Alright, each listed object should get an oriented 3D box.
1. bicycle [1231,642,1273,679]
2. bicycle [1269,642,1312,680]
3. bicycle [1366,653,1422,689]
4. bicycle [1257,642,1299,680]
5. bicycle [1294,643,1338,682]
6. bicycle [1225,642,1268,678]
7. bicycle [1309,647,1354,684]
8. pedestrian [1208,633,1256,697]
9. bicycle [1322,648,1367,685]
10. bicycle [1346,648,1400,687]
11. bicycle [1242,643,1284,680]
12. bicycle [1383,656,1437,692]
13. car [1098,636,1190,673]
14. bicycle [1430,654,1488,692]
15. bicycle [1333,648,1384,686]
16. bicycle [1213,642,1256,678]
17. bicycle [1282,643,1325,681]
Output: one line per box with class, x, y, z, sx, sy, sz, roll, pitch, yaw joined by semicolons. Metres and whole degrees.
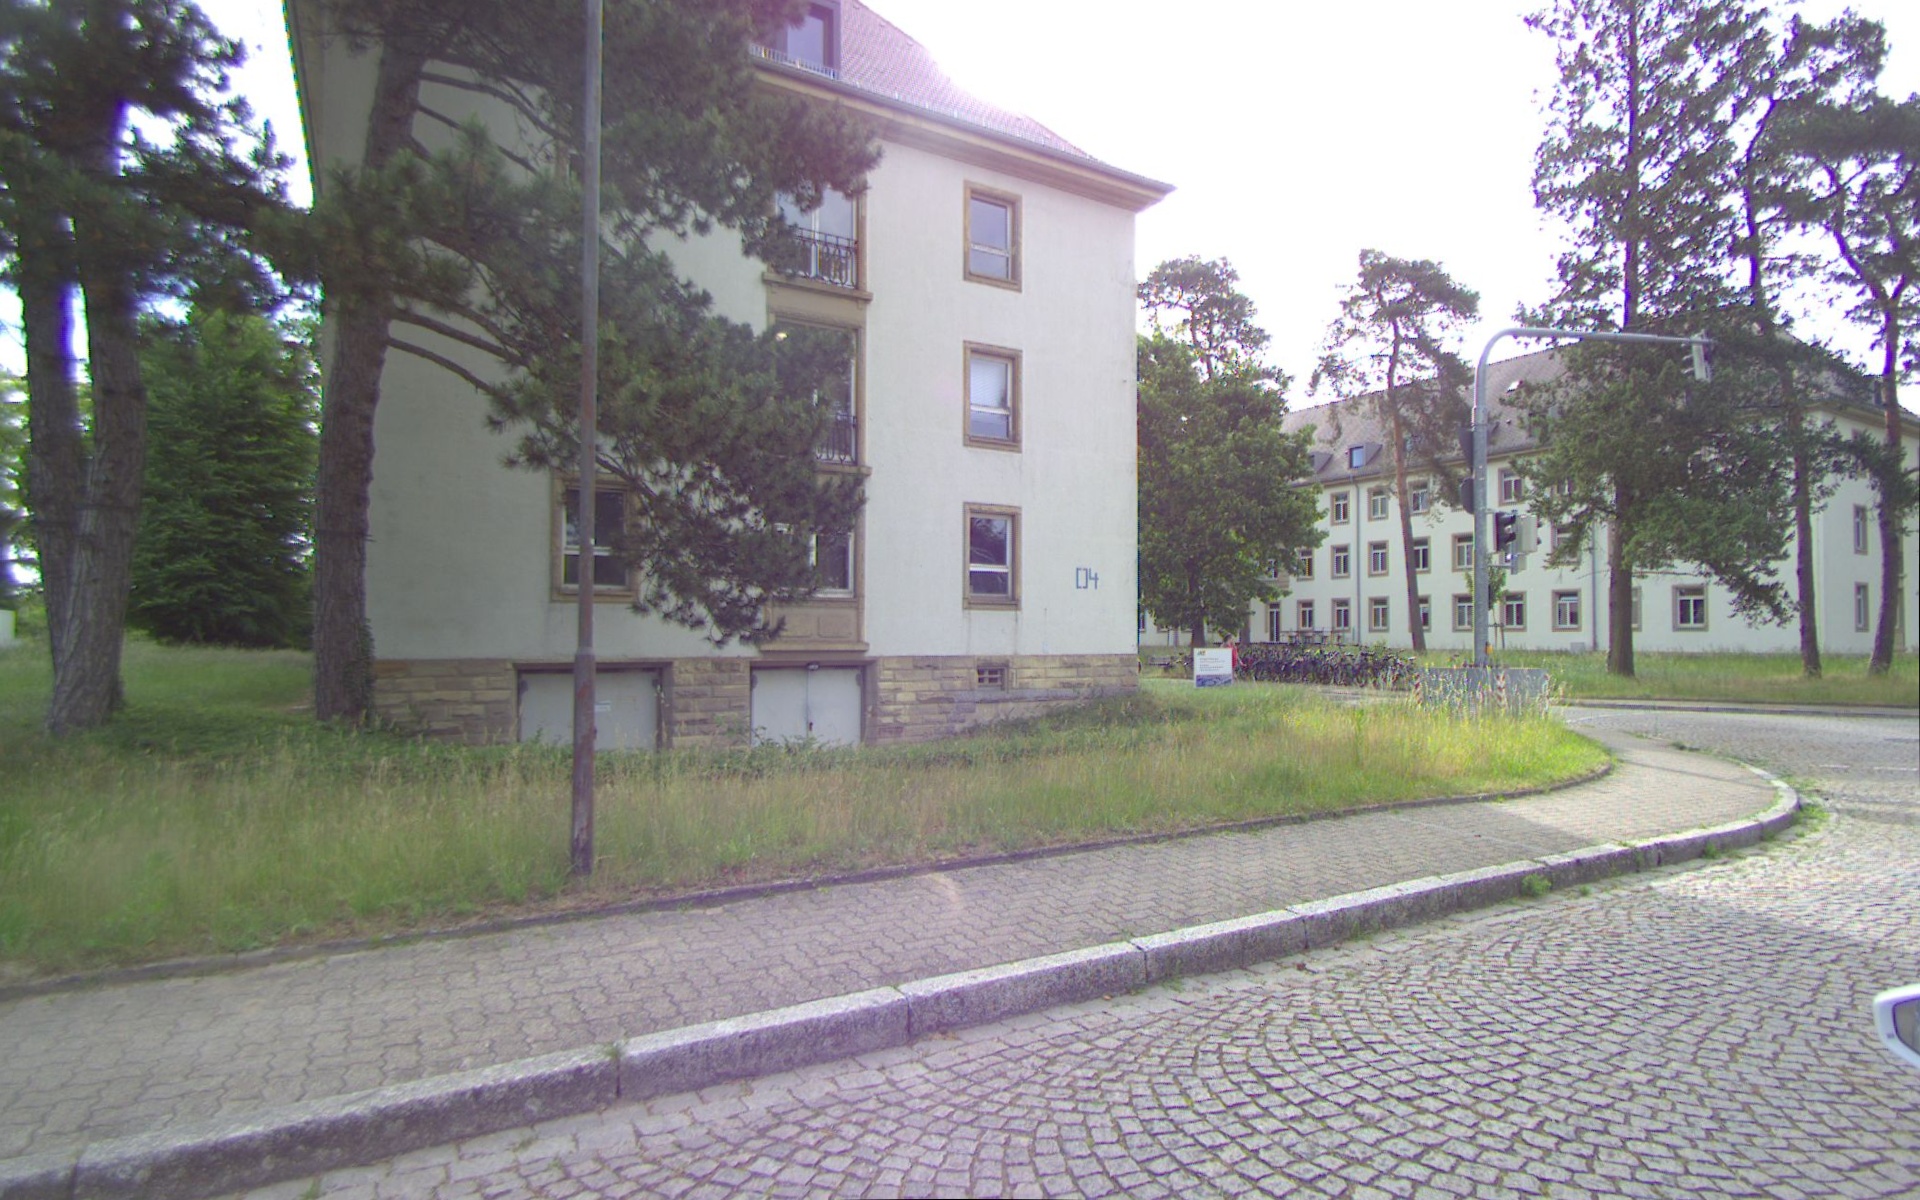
bicycle;10.539;2.176;36.188;1.677;1.300;0.446;1;-2;-32
bicycle;11.450;2.108;34.740;1.677;1.300;0.446;1;-2;-32
bicycle;13.544;2.195;31.329;1.974;1.092;0.572;2;-2;-32
bicycle;11.148;2.113;35.214;1.677;1.300;0.446;1;-2;-32
bicycle;12.032;2.101;33.904;1.677;1.300;0.446;1;-2;-32
bicycle;10.470;2.184;36.696;1.765;1.300;0.440;1;-2;-32
bicycle;12.299;2.144;33.231;1.677;1.193;0.446;1;-2;-32
pedestrian;7.360;1.745;27.221;0.928;1.690;0.857;1;-2;-26
bicycle;12.559;2.153;32.822;1.677;1.193;0.446;1;-2;-32
bicycle;13.125;2.130;31.886;1.932;1.193;0.572;2;-2;-32
bicycle;10.793;2.172;35.773;1.677;1.300;0.446;1;-2;-32
bicycle;13.080;2.135;29.247;0.447;1.009;1.453;1;-2;-29
car;8.282;2.422;45.137;3.851;1.576;1.831;1;-3;-31
bicycle;13.863;2.028;27.942;0.447;1.009;1.453;1;-2;-29
bicycle;12.863;2.137;32.409;1.909;1.193;0.524;2;-2;-32
bicycle;10.126;2.188;37.028;1.807;1.300;0.446;1;-2;-32
bicycle;11.744;2.104;34.318;1.677;1.300;0.446;1;-2;-32
